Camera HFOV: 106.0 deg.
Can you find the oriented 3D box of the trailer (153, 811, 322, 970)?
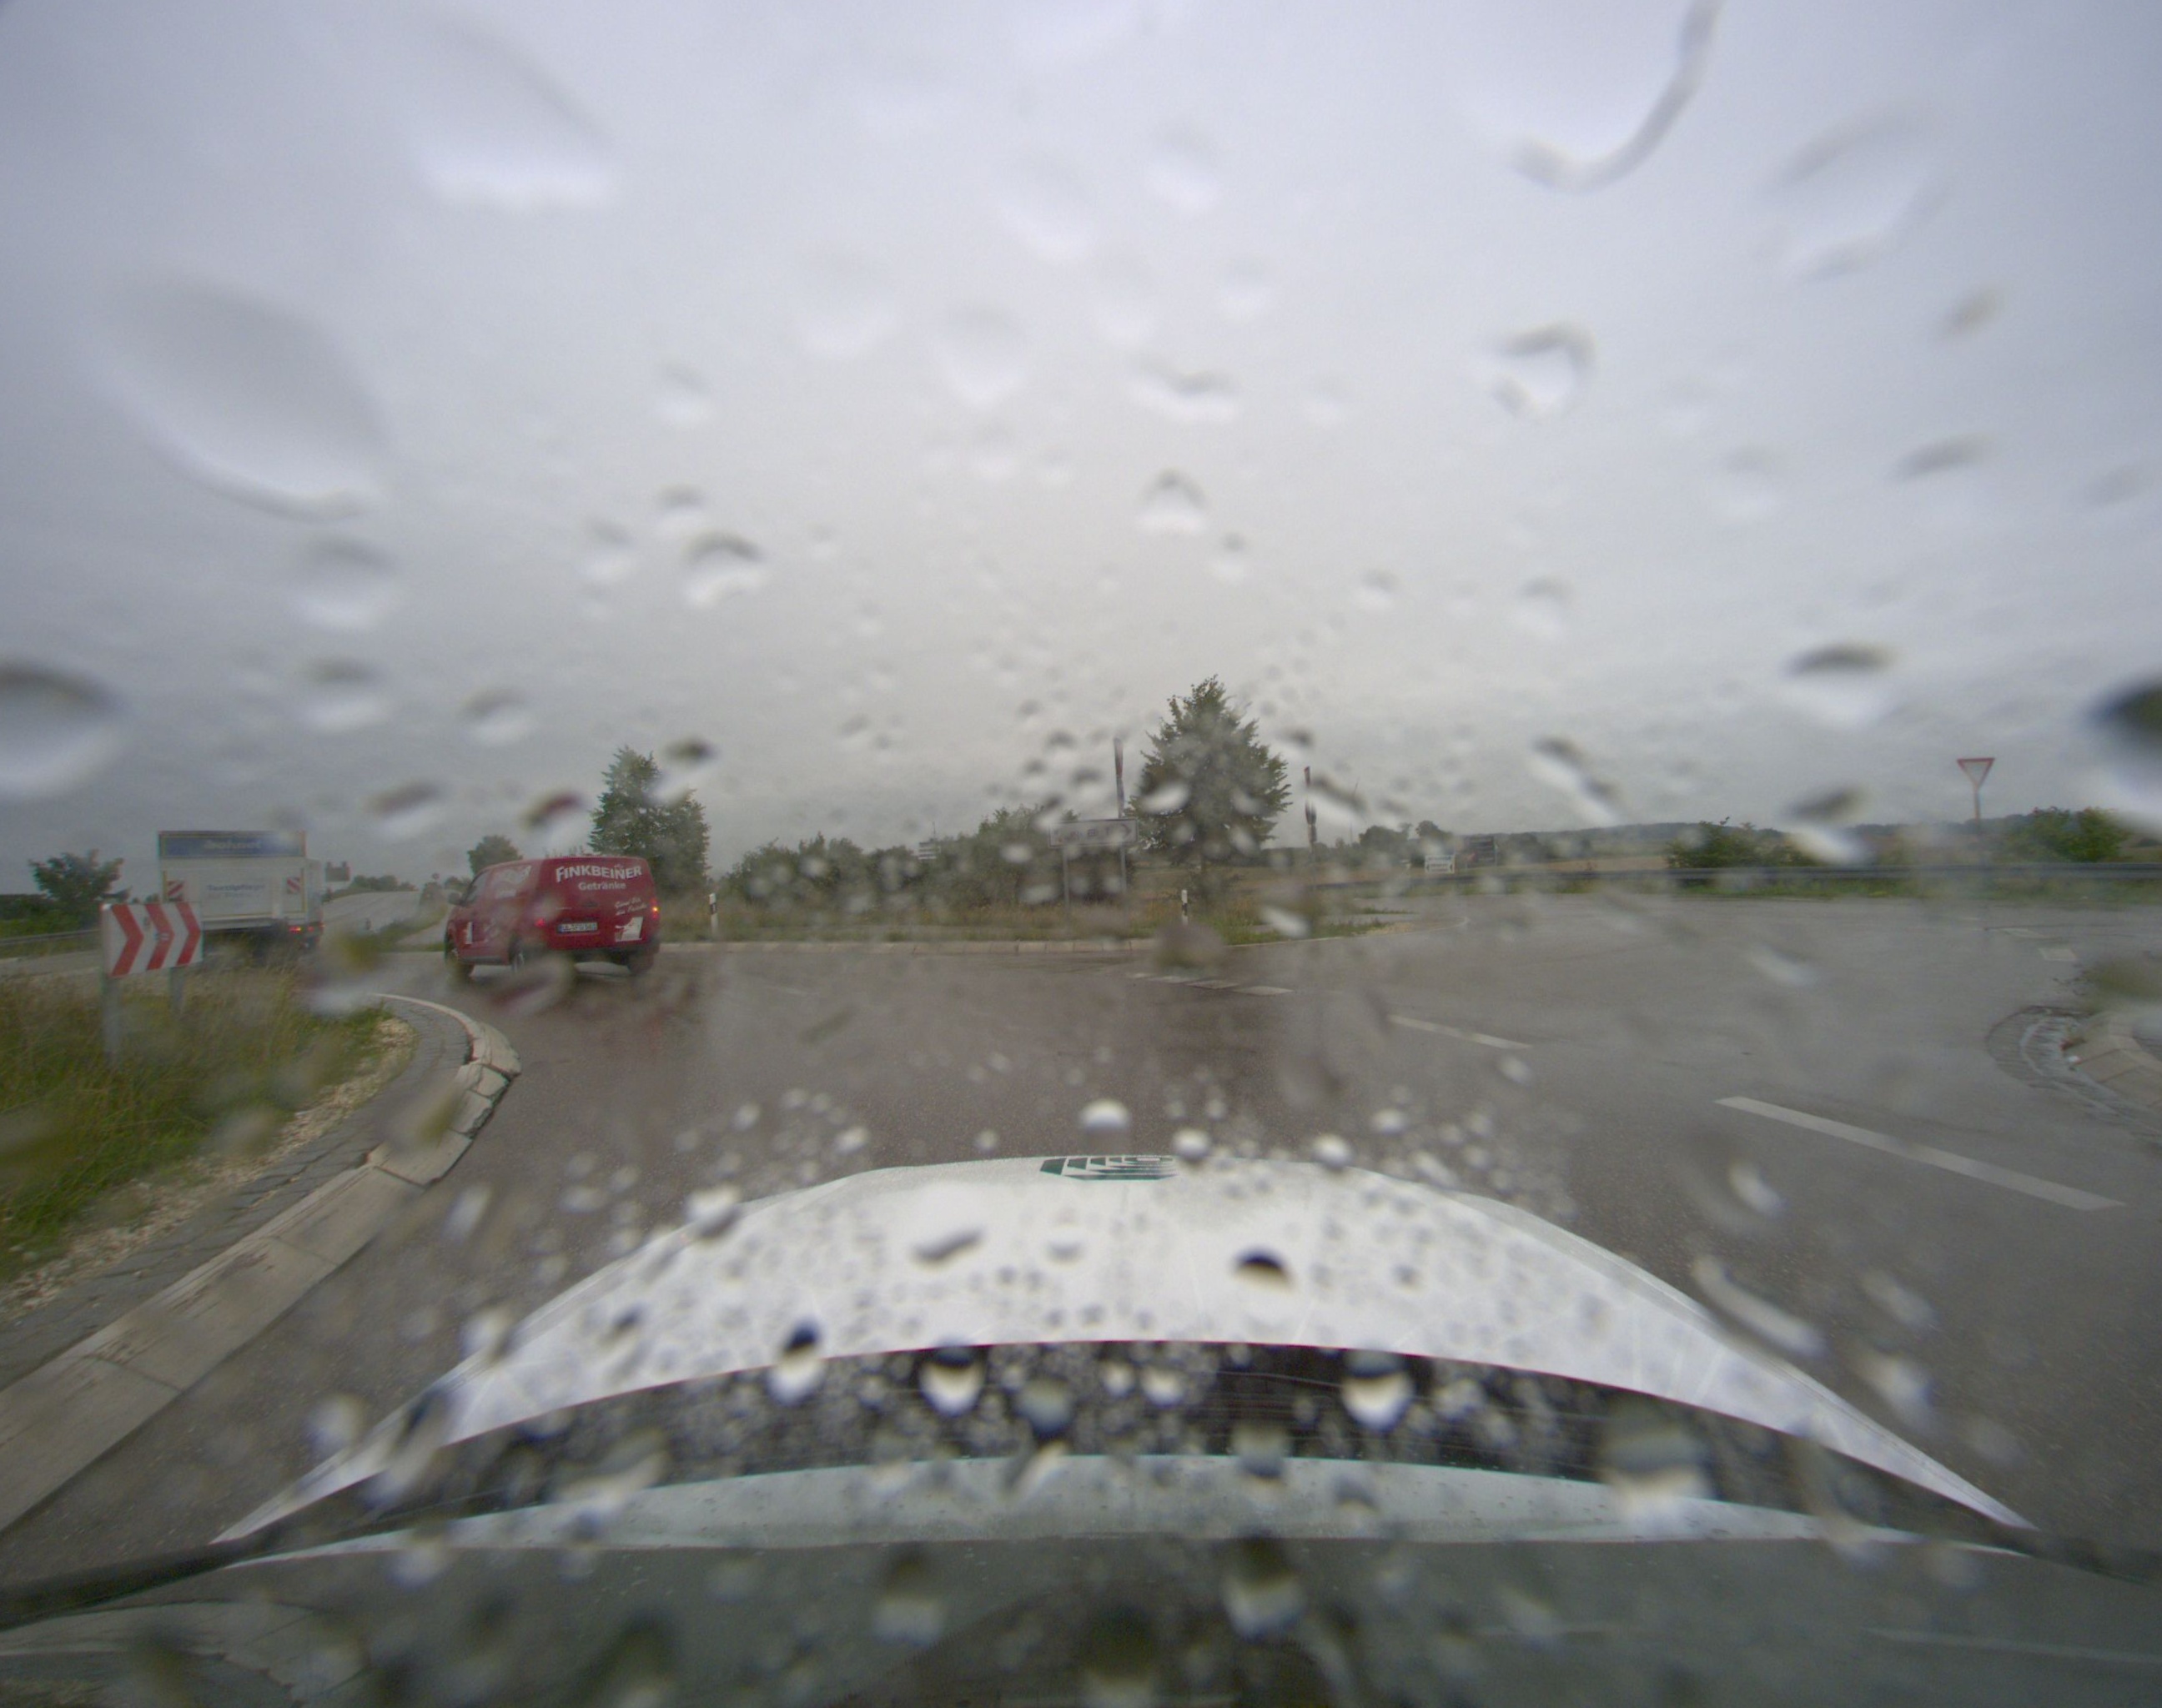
[{"bbox_3d":[-24.823,1.010,23.897,9.590,3.819,2.859,-3,0,42],"label":"trailer"}]

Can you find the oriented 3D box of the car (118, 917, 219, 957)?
[{"bbox_3d":[-43.918,3.957,39.320,1.810,1.575,3.966,-2,-2,-25],"label":"car"}]

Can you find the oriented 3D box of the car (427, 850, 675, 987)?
[{"bbox_3d":[-9.092,0.985,13.801,4.914,1.870,2.013,-2,1,39],"label":"car"}]
